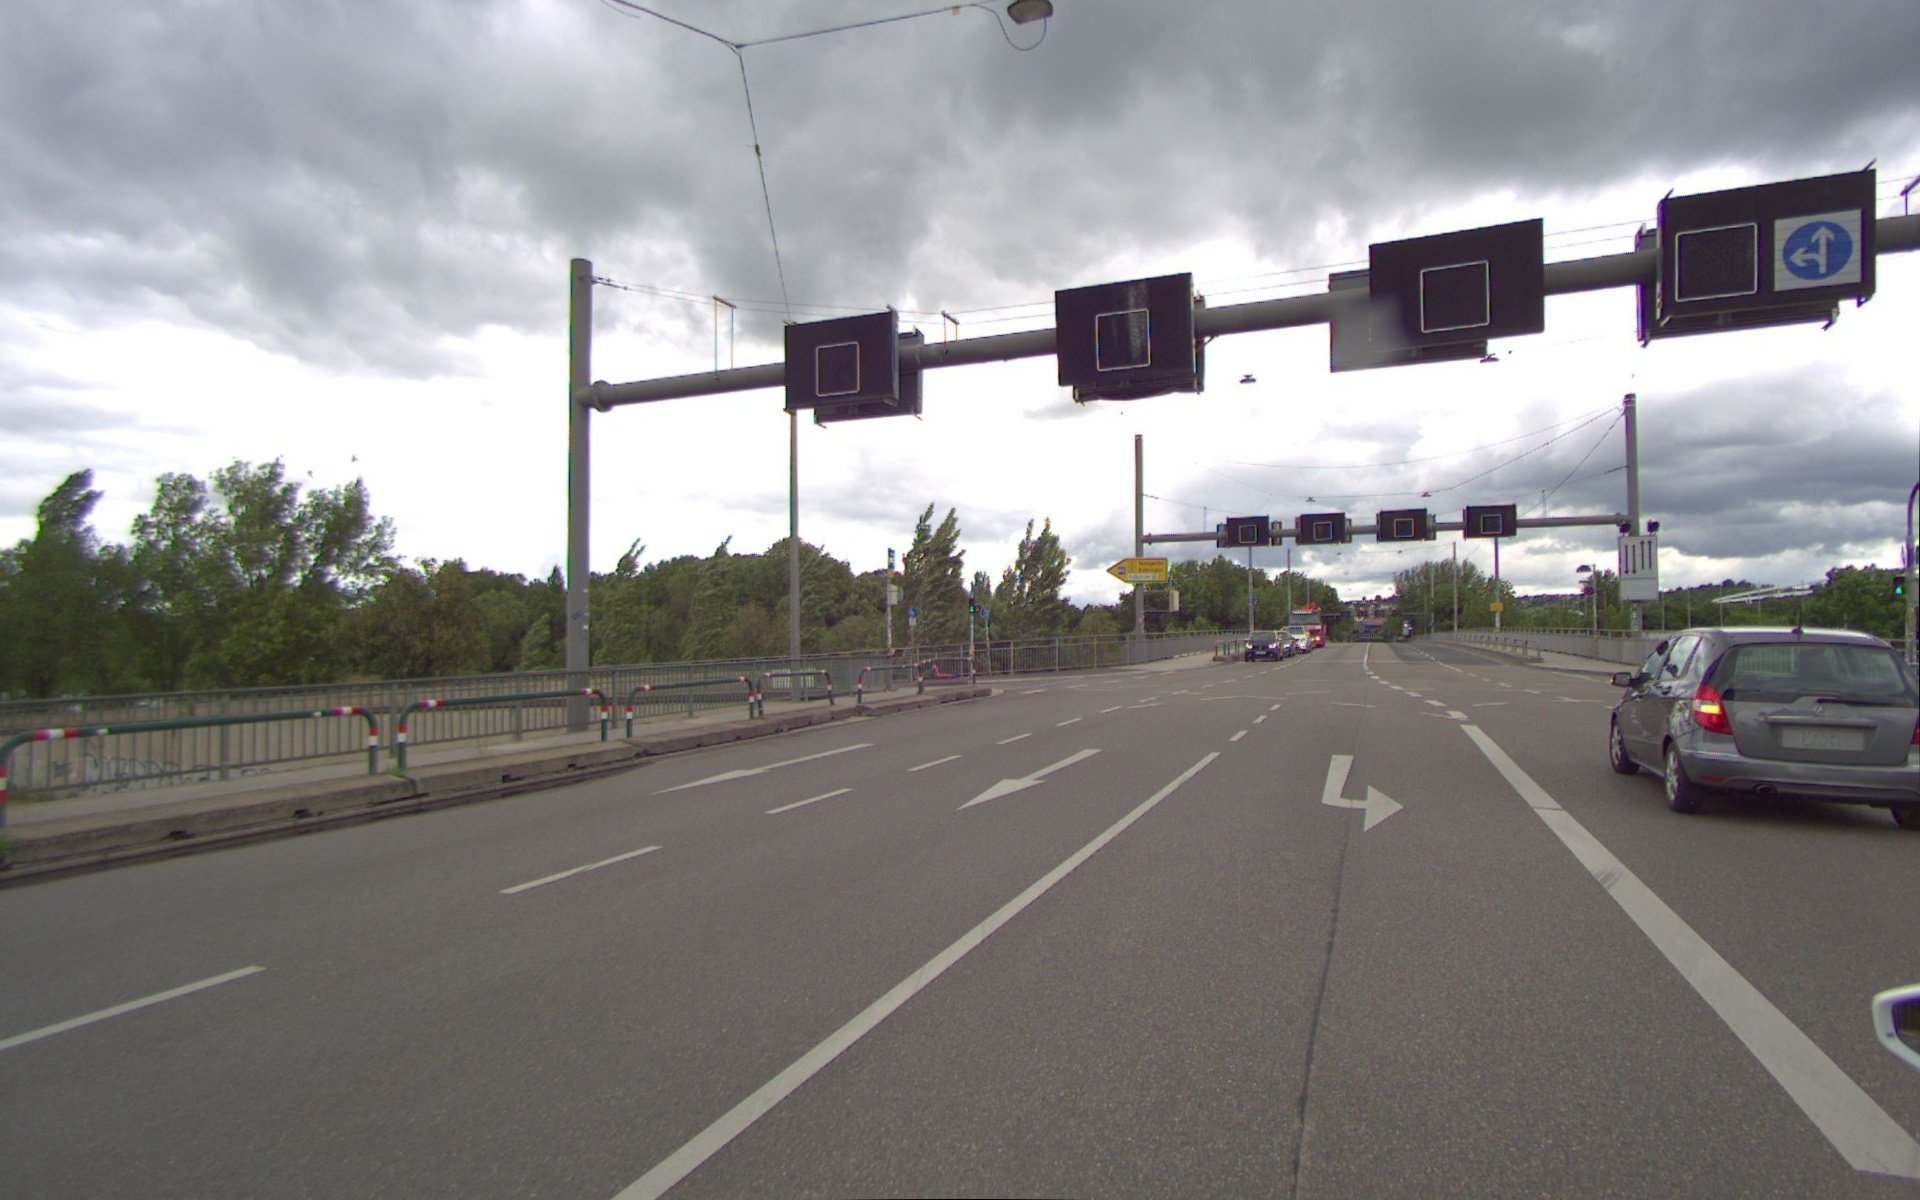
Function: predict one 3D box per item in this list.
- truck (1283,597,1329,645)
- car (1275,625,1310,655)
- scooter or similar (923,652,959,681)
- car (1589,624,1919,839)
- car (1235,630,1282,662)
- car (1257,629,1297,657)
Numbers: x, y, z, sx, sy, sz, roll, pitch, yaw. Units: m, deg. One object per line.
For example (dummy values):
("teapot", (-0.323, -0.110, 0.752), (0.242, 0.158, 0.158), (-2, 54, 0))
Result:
("truck", (28.444, 1.763, 82.353), (2.957, 3.612, 9.980), (-2, -2, 22))
("car", (21.554, 2.562, 65.038), (1.849, 1.784, 4.801), (-2, -2, 22))
("scooter or similar", (-0.749, 2.655, 40.069), (1.309, 1.070, 0.485), (-3, -2, 15))
("car", (7.293, 1.019, 9.386), (1.717, 1.571, 3.870), (0, -1, 22))
("car", (15.252, 2.341, 51.221), (1.806, 1.524, 3.869), (-2, -2, 24))
("car", (18.169, 2.433, 57.402), (1.806, 1.524, 4.516), (-2, -2, 22))
